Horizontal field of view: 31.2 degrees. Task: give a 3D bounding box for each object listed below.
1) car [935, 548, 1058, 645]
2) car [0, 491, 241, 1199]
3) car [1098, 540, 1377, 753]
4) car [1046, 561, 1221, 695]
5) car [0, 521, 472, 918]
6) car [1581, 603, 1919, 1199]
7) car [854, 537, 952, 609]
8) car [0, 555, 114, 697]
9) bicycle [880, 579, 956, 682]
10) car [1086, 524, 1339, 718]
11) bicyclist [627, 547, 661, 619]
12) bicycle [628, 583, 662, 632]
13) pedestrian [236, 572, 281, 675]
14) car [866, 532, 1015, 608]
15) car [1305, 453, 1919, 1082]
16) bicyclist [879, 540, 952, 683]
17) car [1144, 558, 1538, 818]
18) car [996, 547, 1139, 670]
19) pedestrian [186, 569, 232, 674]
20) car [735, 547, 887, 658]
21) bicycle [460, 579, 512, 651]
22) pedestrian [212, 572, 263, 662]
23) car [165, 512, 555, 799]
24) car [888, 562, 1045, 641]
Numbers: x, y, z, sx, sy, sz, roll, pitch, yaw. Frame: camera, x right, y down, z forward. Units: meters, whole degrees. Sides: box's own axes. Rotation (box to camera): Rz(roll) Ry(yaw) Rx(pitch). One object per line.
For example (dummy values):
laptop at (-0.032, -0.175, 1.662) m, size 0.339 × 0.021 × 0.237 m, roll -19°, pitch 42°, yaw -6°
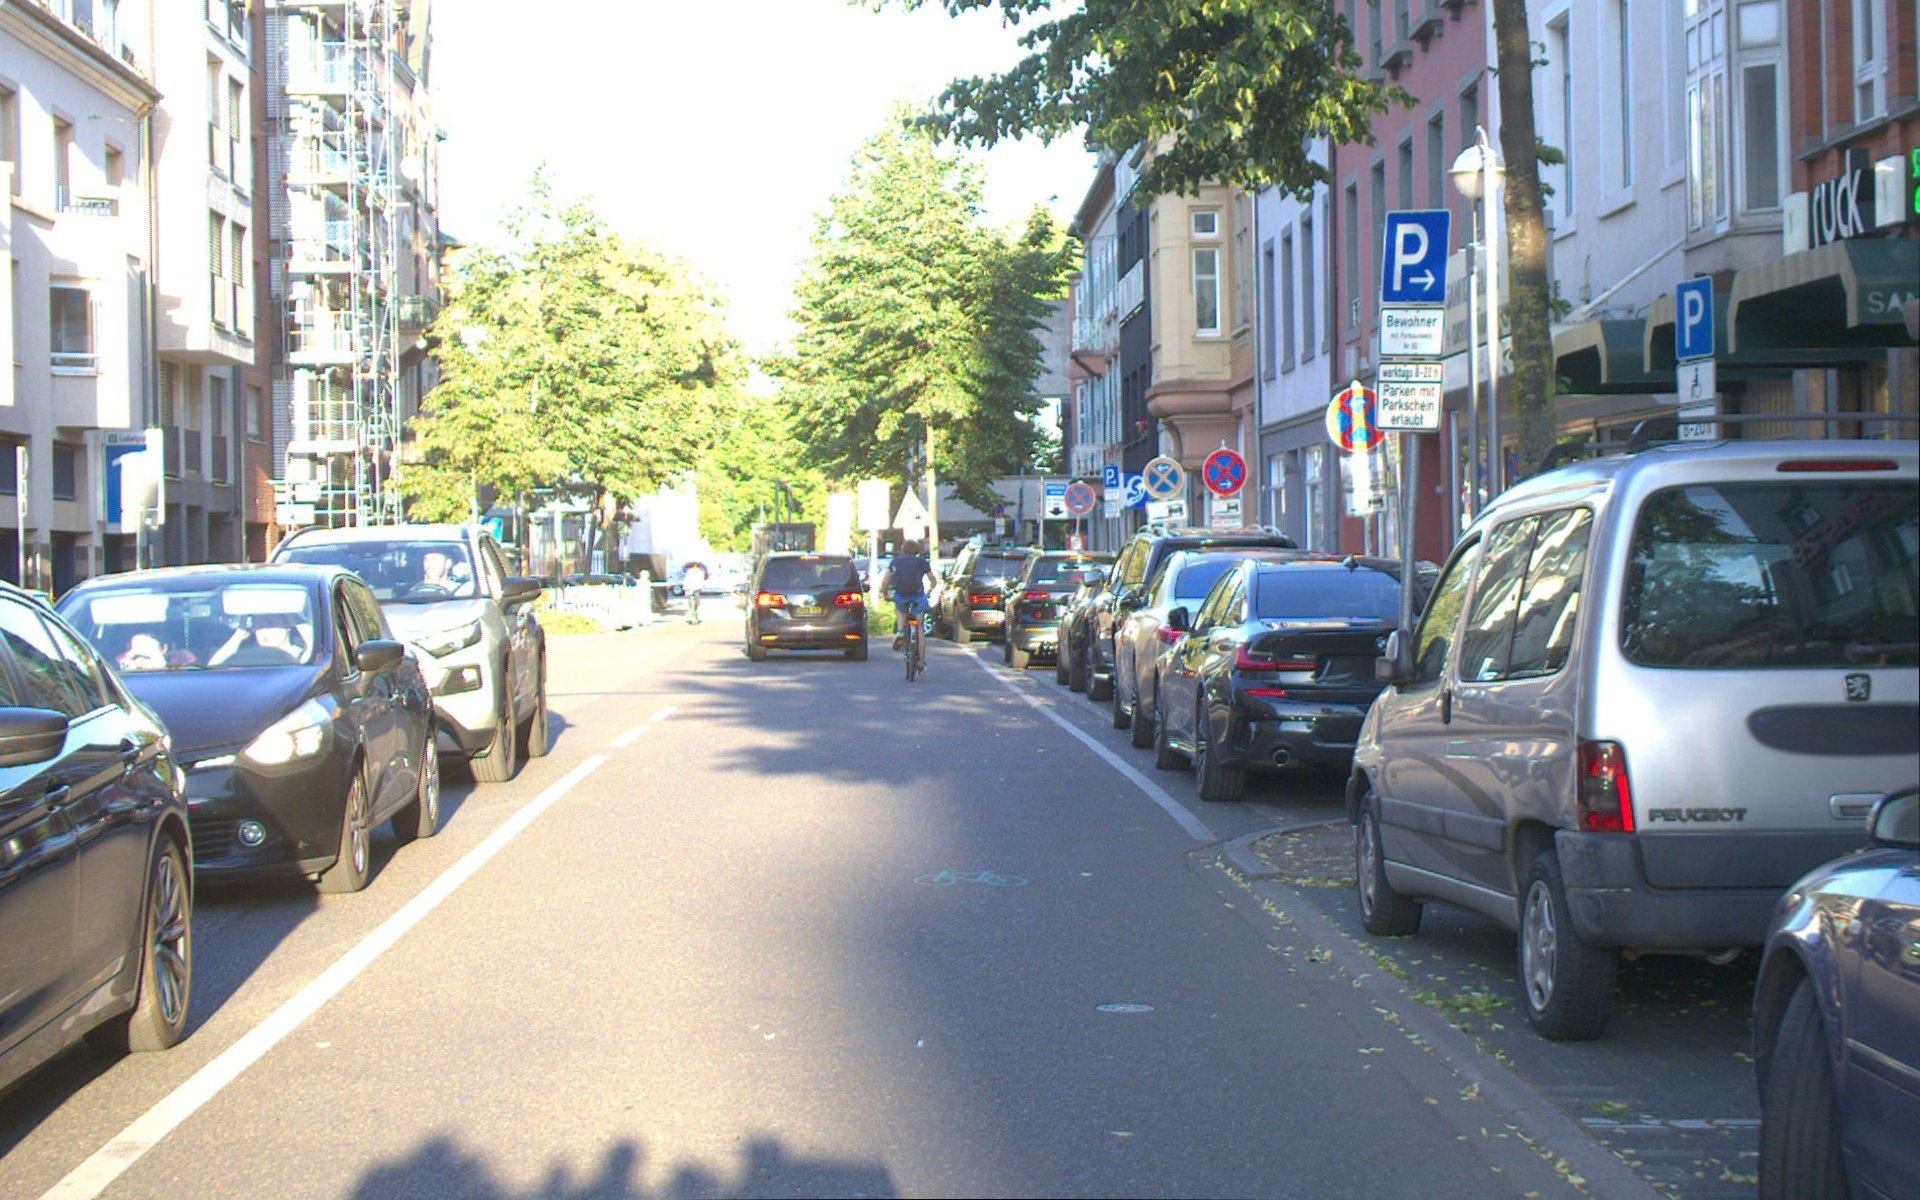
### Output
car at (0.625, -0.062, 62.065) m, size 1.824 × 1.689 × 4.369 m, roll 0°, pitch 0°, yaw -5°
car at (-3.192, 0.598, 8.386) m, size 1.946 × 1.639 × 4.615 m, roll -2°, pitch 0°, yaw -1°
car at (2.097, 0.334, 27.231) m, size 1.812 × 1.522 × 4.993 m, roll 0°, pitch 0°, yaw 0°
car at (1.988, 0.314, 40.526) m, size 1.762 × 1.478 × 4.307 m, roll 0°, pitch 0°, yaw -1°
car at (-3.432, 0.486, 15.999) m, size 1.723 × 1.544 × 4.465 m, roll -2°, pitch 0°, yaw -1°
car at (2.471, 0.740, 5.560) m, size 1.937 × 1.372 × 4.183 m, roll 1°, pitch 1°, yaw -3°
car at (-1.615, -0.719, 95.175) m, size 2.265 × 1.760 × 4.510 m, roll 5°, pitch 0°, yaw -5°
car at (-10.343, 0.265, 36.855) m, size 1.711 × 1.449 × 3.725 m, roll 0°, pitch 0°, yaw -2°
bicycle at (-0.525, 0.360, 41.978) m, size 0.780 × 1.200 × 2.021 m, roll -2°, pitch 0°, yaw -4°
car at (2.385, 0.193, 33.667) m, size 1.883 × 1.748 × 5.059 m, roll 0°, pitch 0°, yaw -3°
bicyclist at (-8.058, -0.431, 87.755) m, size 0.780 × 1.823 × 1.007 m, roll -2°, pitch 0°, yaw -4°
bicycle at (-8.038, 0.185, 87.670) m, size 0.780 × 1.200 × 2.021 m, roll -2°, pitch 0°, yaw -4°
pedestrian at (-11.869, 0.390, 58.205) m, size 0.716 × 1.734 × 0.739 m, roll 0°, pitch 0°, yaw -9°
car at (-0.525, -0.831, 95.423) m, size 3.987 × 2.007 × 2.000 m, roll -1°, pitch 1°, yaw 3°
car at (2.364, 0.439, 11.741) m, size 1.654 × 1.772 × 4.012 m, roll 0°, pitch 1°, yaw -5°
bicyclist at (-0.543, 0.139, 41.897) m, size 0.780 × 1.690 × 1.007 m, roll -2°, pitch 0°, yaw -4°
car at (2.229, 0.464, 21.279) m, size 1.752 × 1.415 × 4.510 m, roll 0°, pitch 1°, yaw -2°
car at (1.479, 0.116, 48.734) m, size 1.812 × 1.662 × 4.206 m, roll 0°, pitch 0°, yaw -1°
pedestrian at (-12.693, 0.356, 58.085) m, size 0.716 × 1.761 × 0.694 m, roll 0°, pitch 0°, yaw -9°
car at (-2.209, 0.035, 52.048) m, size 1.993 × 1.596 × 4.509 m, roll 0°, pitch 0°, yaw 1°
bicycle at (-9.187, 0.281, 66.496) m, size 0.844 × 1.346 × 3.188 m, roll -1°, pitch 0°, yaw -10°
pedestrian at (-13.221, 0.302, 62.936) m, size 0.716 × 1.636 × 0.855 m, roll 0°, pitch 0°, yaw 3°
car at (-3.841, 0.334, 22.801) m, size 1.940 × 1.639 × 4.739 m, roll -2°, pitch 0°, yaw -3°
car at (0.124, 0.029, 67.864) m, size 2.968 × 1.531 × 1.433 m, roll 0°, pitch 0°, yaw -5°
